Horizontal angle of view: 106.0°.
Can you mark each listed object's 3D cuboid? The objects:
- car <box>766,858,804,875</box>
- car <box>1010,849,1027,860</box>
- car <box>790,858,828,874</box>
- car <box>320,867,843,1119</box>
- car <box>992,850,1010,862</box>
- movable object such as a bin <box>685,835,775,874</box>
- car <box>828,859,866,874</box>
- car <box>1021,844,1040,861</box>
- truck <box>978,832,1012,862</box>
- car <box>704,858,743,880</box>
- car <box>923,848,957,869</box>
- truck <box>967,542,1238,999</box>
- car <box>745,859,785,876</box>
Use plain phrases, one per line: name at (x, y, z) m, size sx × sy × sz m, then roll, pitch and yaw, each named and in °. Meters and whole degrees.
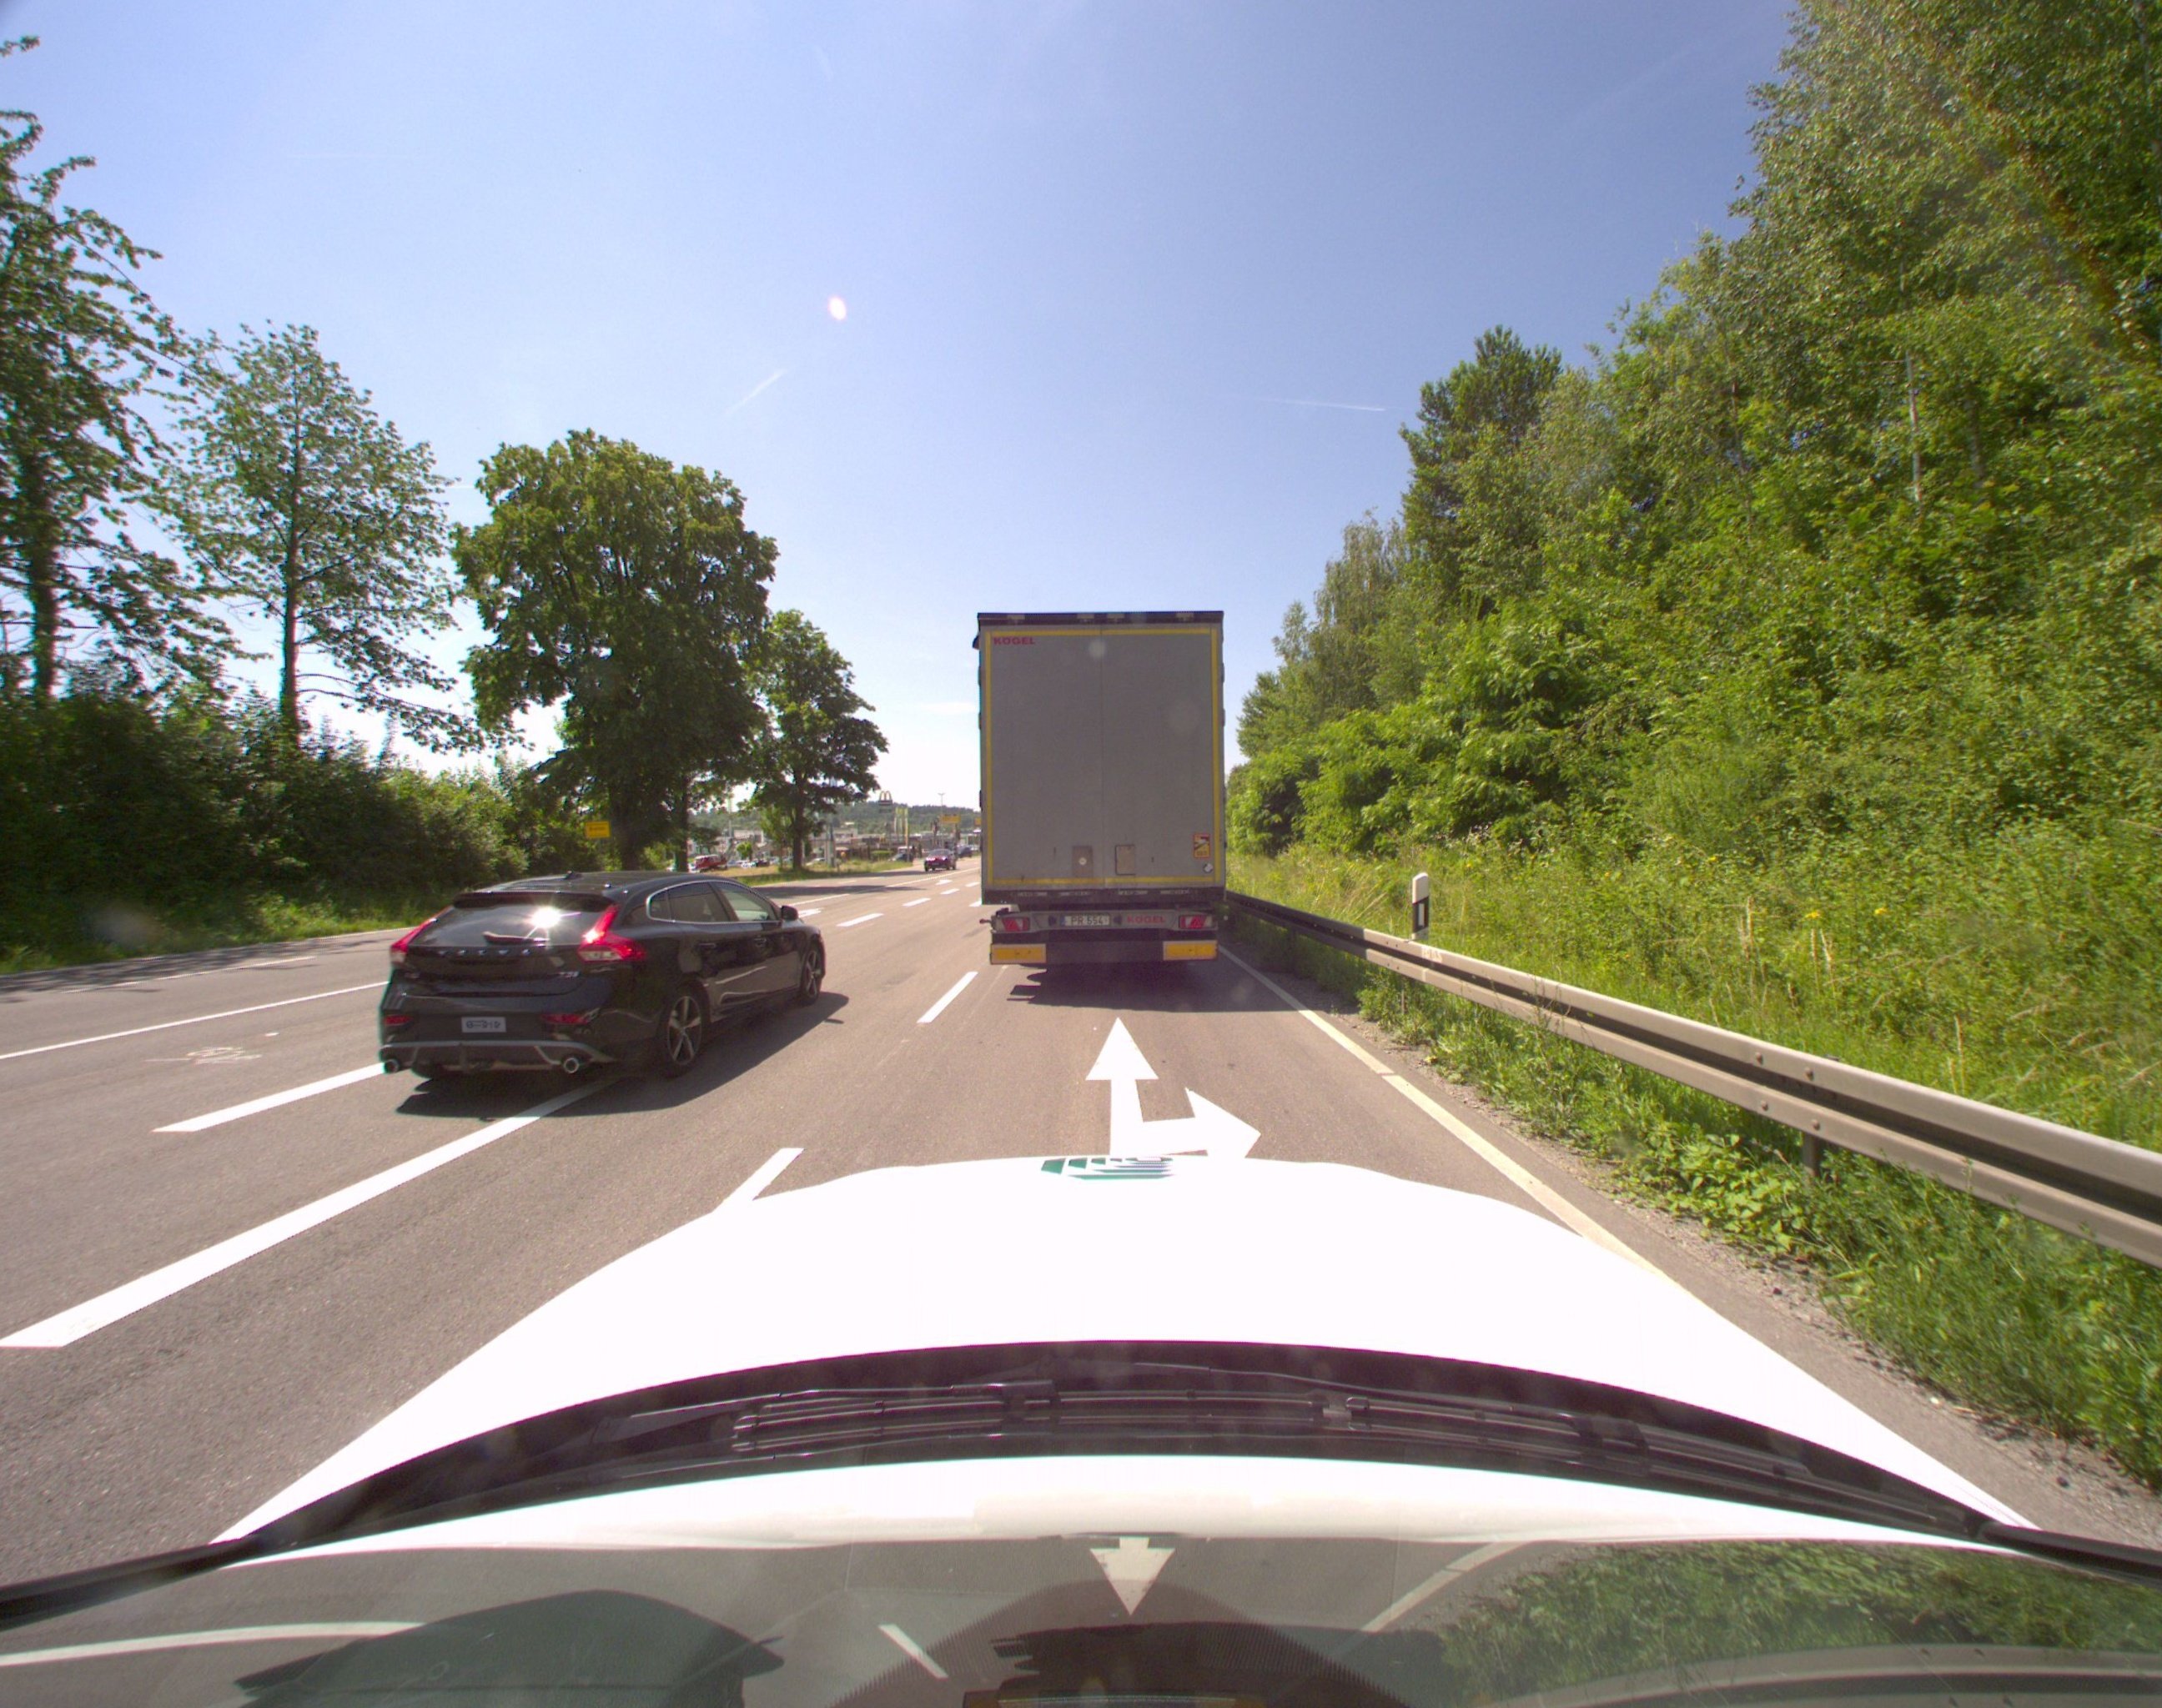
car at (-30.300, 1.257, 83.364) m, size 3.948 × 1.618 × 1.852 m, roll -1°, pitch 0°, yaw 38°
car at (-8.440, 0.051, 110.598) m, size 1.712 × 1.515 × 3.860 m, roll 0°, pitch 0°, yaw 3°
car at (-28.583, 1.207, 85.562) m, size 3.948 × 1.618 × 1.852 m, roll -1°, pitch 0°, yaw 38°
car at (-3.542, 0.838, 6.932) m, size 1.680 × 1.398 × 4.403 m, roll -1°, pitch -1°, yaw 1°
car at (-9.696, 0.257, 98.845) m, size 1.761 × 1.386 × 3.999 m, roll 0°, pitch 0°, yaw 0°
movable object such as a bin at (-31.724, -0.021, 73.825) m, size 3.013 × 3.298 × 6.835 m, roll -1°, pitch 1°, yaw 41°
car at (-24.980, 1.324, 86.931) m, size 3.948 × 1.618 × 1.852 m, roll -1°, pitch 0°, yaw 38°
car at (-6.219, -0.238, 100.413) m, size 1.986 × 2.013 × 4.001 m, roll -1°, pitch 0°, yaw 1°
truck at (-12.717, -1.066, 122.236) m, size 2.958 × 4.176 × 16.576 m, roll -1°, pitch 0°, yaw 1°
car at (-34.703, 1.429, 79.010) m, size 3.949 × 2.013 × 2.012 m, roll -1°, pitch 0°, yaw 42°
car at (-10.340, 0.308, 59.973) m, size 1.897 × 1.508 × 3.764 m, roll -1°, pitch 0°, yaw 0°
truck at (0.487, -0.793, 16.598) m, size 2.745 × 4.639 × 16.661 m, roll 0°, pitch 0°, yaw 2°
car at (-31.674, 1.370, 81.583) m, size 3.948 × 1.651 × 2.013 m, roll -1°, pitch 0°, yaw 38°
